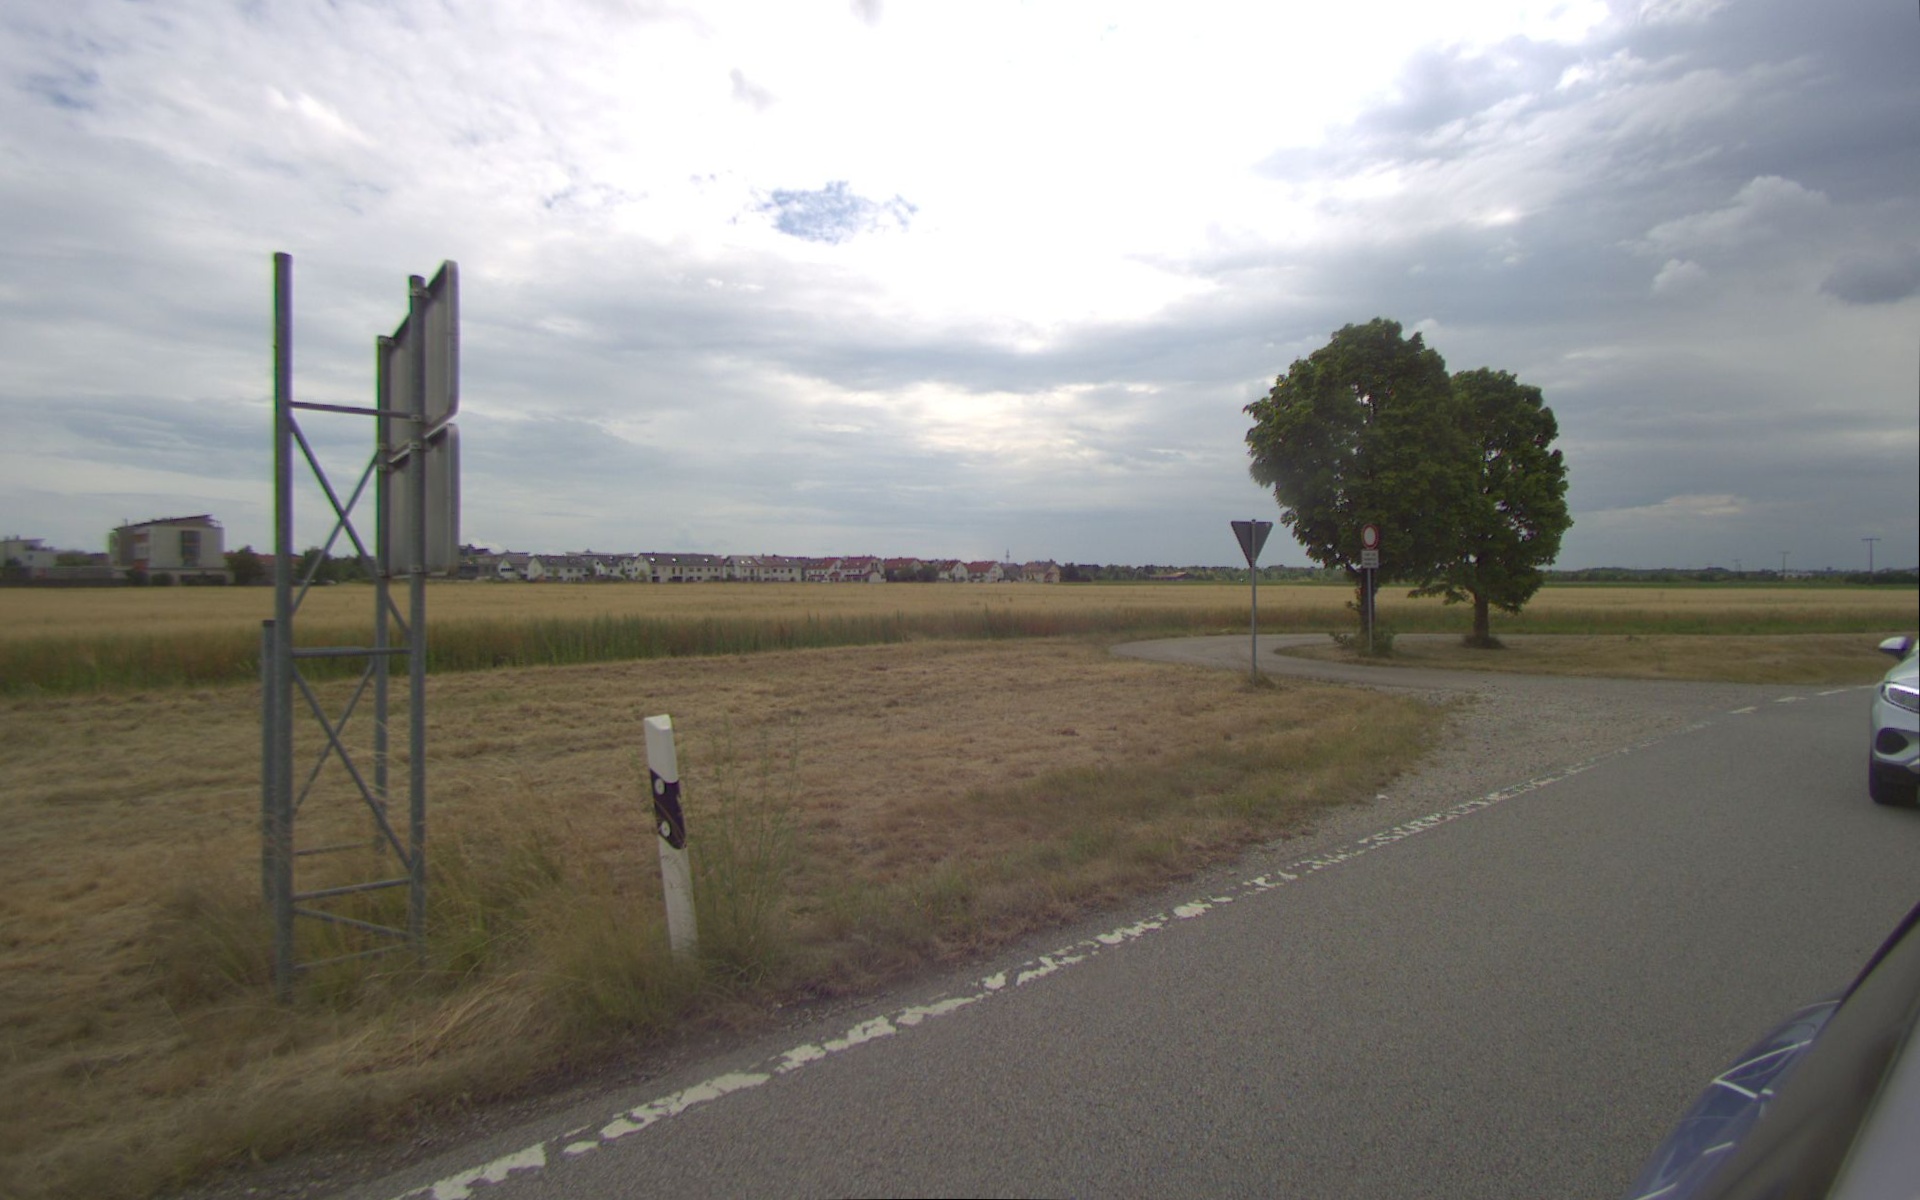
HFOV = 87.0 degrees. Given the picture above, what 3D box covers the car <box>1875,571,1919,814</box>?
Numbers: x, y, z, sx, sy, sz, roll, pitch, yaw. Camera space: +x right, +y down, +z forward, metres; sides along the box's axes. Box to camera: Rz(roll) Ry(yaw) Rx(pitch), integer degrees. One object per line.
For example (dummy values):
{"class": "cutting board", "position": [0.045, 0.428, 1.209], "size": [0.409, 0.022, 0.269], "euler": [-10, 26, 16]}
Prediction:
{"class": "car", "position": [8.437, 0.631, 7.646], "size": [4.374, 1.606, 1.834], "euler": [0, 1, -42]}
